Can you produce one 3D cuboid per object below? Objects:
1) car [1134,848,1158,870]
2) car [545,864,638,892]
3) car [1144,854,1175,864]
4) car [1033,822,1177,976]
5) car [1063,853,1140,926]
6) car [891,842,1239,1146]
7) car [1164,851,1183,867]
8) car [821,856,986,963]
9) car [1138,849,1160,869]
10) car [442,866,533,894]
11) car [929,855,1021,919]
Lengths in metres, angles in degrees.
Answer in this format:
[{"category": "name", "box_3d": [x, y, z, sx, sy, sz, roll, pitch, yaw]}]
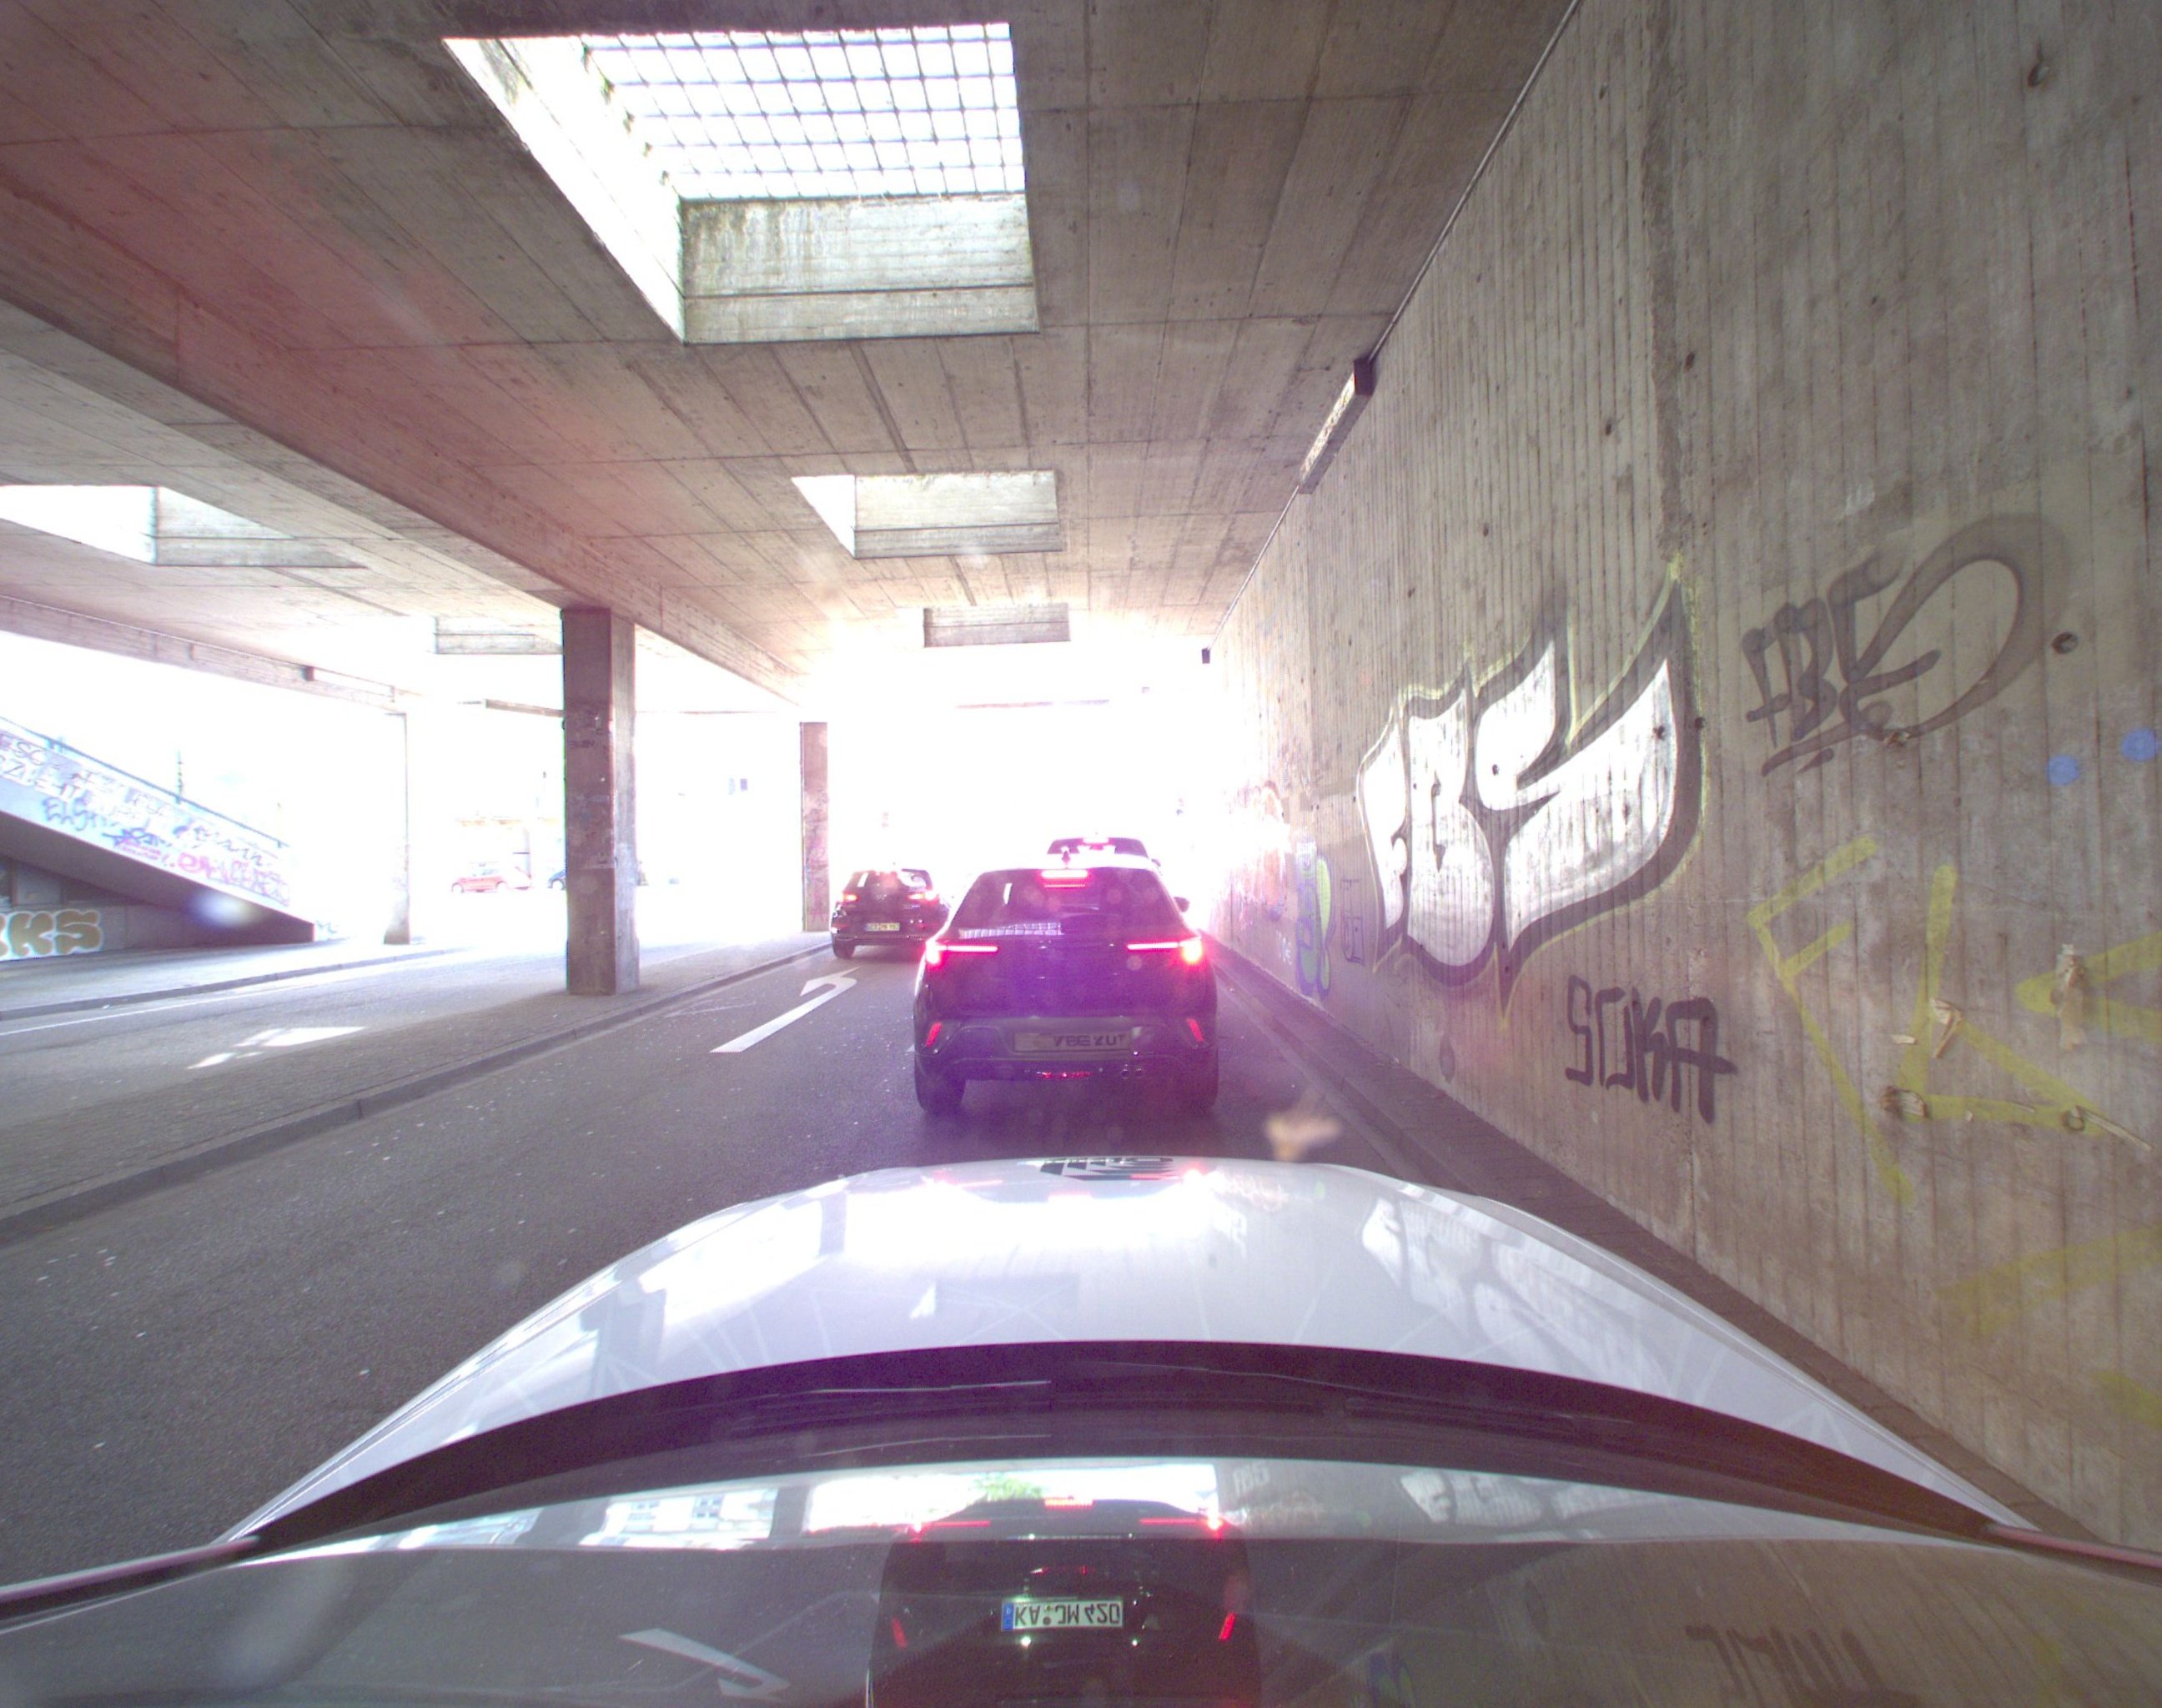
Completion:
[{"category": "car", "box_3d": [4.977, 0.378, 62.241, 1.745, 1.667, 3.950, 0, -1, 6]}, {"category": "car", "box_3d": [-27.164, 1.314, 45.282, 4.096, 1.475, 1.737, -1, -1, 0]}, {"category": "car", "box_3d": [12.857, 0.860, 133.677, 4.814, 1.667, 1.812, 0, -1, -19]}, {"category": "car", "box_3d": [0.364, 0.562, 12.154, 1.755, 1.883, 4.148, -1, 0, 2]}, {"category": "car", "box_3d": [0.500, 0.757, 19.373, 1.603, 1.513, 4.055, -1, 0, 2]}, {"category": "car", "box_3d": [-0.021, 0.721, 6.215, 1.755, 1.531, 4.091, -1, 0, 2]}, {"category": "car", "box_3d": [10.289, 0.568, 90.023, 1.742, 1.667, 3.956, 0, -1, 11]}, {"category": "car", "box_3d": [-2.742, 0.794, 13.474, 1.755, 1.480, 3.846, -1, 0, 2]}, {"category": "car", "box_3d": [5.765, 0.422, 68.345, 1.745, 1.667, 3.950, 0, -1, 6]}, {"category": "car", "box_3d": [-32.920, 1.436, 45.260, 3.748, 1.475, 1.749, -1, -1, 0]}, {"category": "car", "box_3d": [-2.652, 0.791, 21.202, 1.755, 1.480, 3.846, -1, 0, 2]}]
